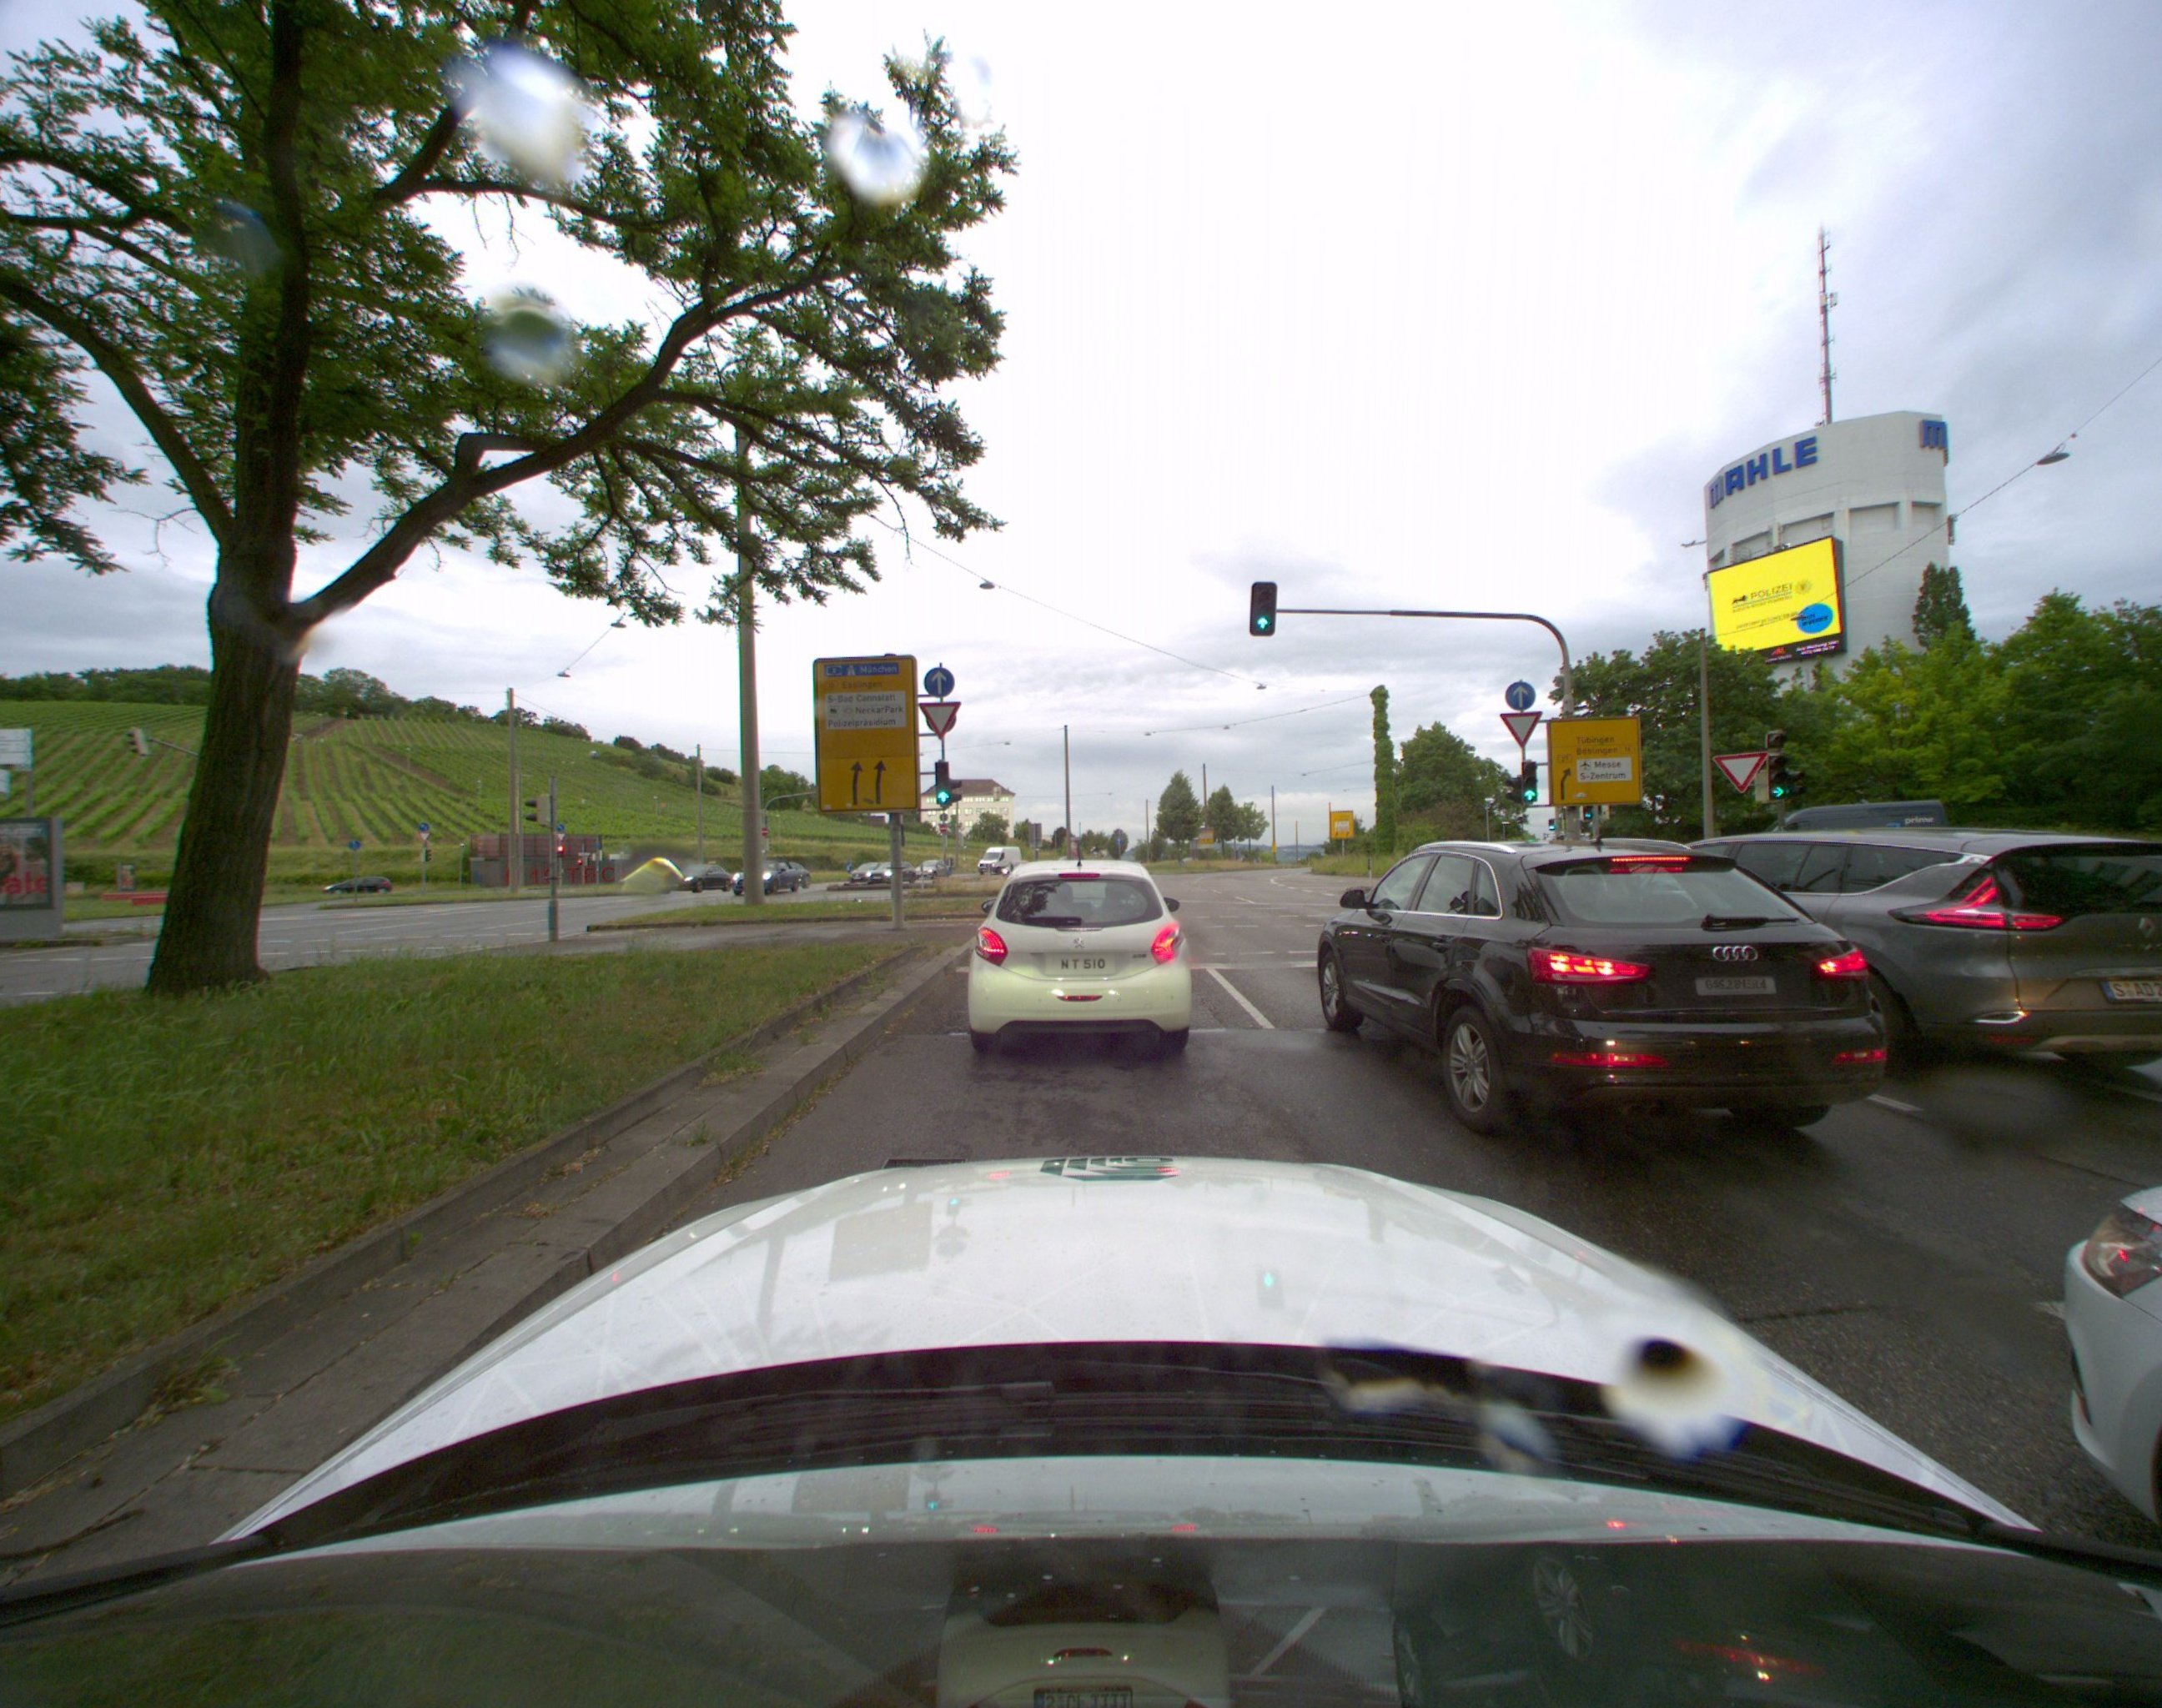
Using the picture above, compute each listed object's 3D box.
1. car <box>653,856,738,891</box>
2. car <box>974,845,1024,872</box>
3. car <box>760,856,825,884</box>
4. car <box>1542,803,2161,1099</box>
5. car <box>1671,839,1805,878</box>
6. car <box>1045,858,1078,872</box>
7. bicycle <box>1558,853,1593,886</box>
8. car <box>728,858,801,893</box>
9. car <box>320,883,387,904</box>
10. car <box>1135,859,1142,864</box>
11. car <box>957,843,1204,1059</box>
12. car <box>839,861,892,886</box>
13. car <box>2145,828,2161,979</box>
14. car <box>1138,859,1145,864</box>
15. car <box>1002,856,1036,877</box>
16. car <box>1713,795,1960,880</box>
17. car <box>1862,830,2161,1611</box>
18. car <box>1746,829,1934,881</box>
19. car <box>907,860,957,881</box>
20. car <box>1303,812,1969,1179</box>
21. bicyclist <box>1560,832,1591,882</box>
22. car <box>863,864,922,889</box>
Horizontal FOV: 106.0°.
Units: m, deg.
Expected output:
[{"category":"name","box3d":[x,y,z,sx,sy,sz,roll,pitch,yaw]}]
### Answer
[{"category":"car","box3d":[-19.054,0.940,40.500,1.821,1.623,4.570,0,-1,3]},{"category":"car","box3d":[-7.905,0.452,79.559,1.976,2.559,6.204,0,-1,24]},{"category":"car","box3d":[-15.842,0.866,44.999,1.817,1.362,4.670,-1,0,1]},{"category":"car","box3d":[6.132,0.524,6.931,1.859,1.674,4.565,-1,1,0]},{"category":"car","box3d":[28.094,0.216,34.998,4.094,1.564,1.881,-1,-1,22]},{"category":"car","box3d":[-2.166,1.285,92.083,1.975,1.513,4.257,0,-1,27]},{"category":"bicycle","box3d":[15.951,0.479,26.301,0.801,1.023,2.343,-3,-1,29]},{"category":"car","box3d":[-13.484,0.912,34.877,1.783,1.395,3.876,0,-1,-4]},{"category":"car","box3d":[-56.568,3.065,63.416,3.786,1.518,1.839,1,-1,-39]},{"category":"car","box3d":[17.190,2.265,244.690,1.836,1.486,3.998,-1,0,-1]},{"category":"car","box3d":[0.029,0.696,7.692,1.712,1.489,4.000,-1,-1,1]},{"category":"car","box3d":[-14.853,1.318,56.429,1.814,1.472,4.680,-1,0,8]},{"category":"car","box3d":[10.557,0.511,5.917,1.847,1.497,4.178,-4,0,29]},{"category":"car","box3d":[17.582,2.187,236.297,1.836,1.486,3.998,-1,0,-1]},{"category":"car","box3d":[-4.683,0.942,62.056,1.766,1.425,4.382,-2,-1,6]},{"category":"car","box3d":[26.090,-0.475,28.513,5.954,2.741,2.094,-1,-2,27]},{"category":"car","box3d":[2.825,0.665,0.171,1.734,1.432,3.812,0,-1,1]},{"category":"car","box3d":[24.278,0.093,26.266,4.012,1.569,1.881,-1,-2,25]},{"category":"car","box3d":[-12.156,1.325,66.551,1.976,1.575,4.218,0,-1,23]},{"category":"car","box3d":[2.998,0.639,5.639,1.877,1.595,4.114,0,-1,1]},{"category":"bicyclist","box3d":[15.871,0.103,26.153,0.801,1.584,1.029,0,-1,28]},{"category":"car","box3d":[-11.997,1.424,52.220,1.889,1.489,4.906,0,-1,10]}]
